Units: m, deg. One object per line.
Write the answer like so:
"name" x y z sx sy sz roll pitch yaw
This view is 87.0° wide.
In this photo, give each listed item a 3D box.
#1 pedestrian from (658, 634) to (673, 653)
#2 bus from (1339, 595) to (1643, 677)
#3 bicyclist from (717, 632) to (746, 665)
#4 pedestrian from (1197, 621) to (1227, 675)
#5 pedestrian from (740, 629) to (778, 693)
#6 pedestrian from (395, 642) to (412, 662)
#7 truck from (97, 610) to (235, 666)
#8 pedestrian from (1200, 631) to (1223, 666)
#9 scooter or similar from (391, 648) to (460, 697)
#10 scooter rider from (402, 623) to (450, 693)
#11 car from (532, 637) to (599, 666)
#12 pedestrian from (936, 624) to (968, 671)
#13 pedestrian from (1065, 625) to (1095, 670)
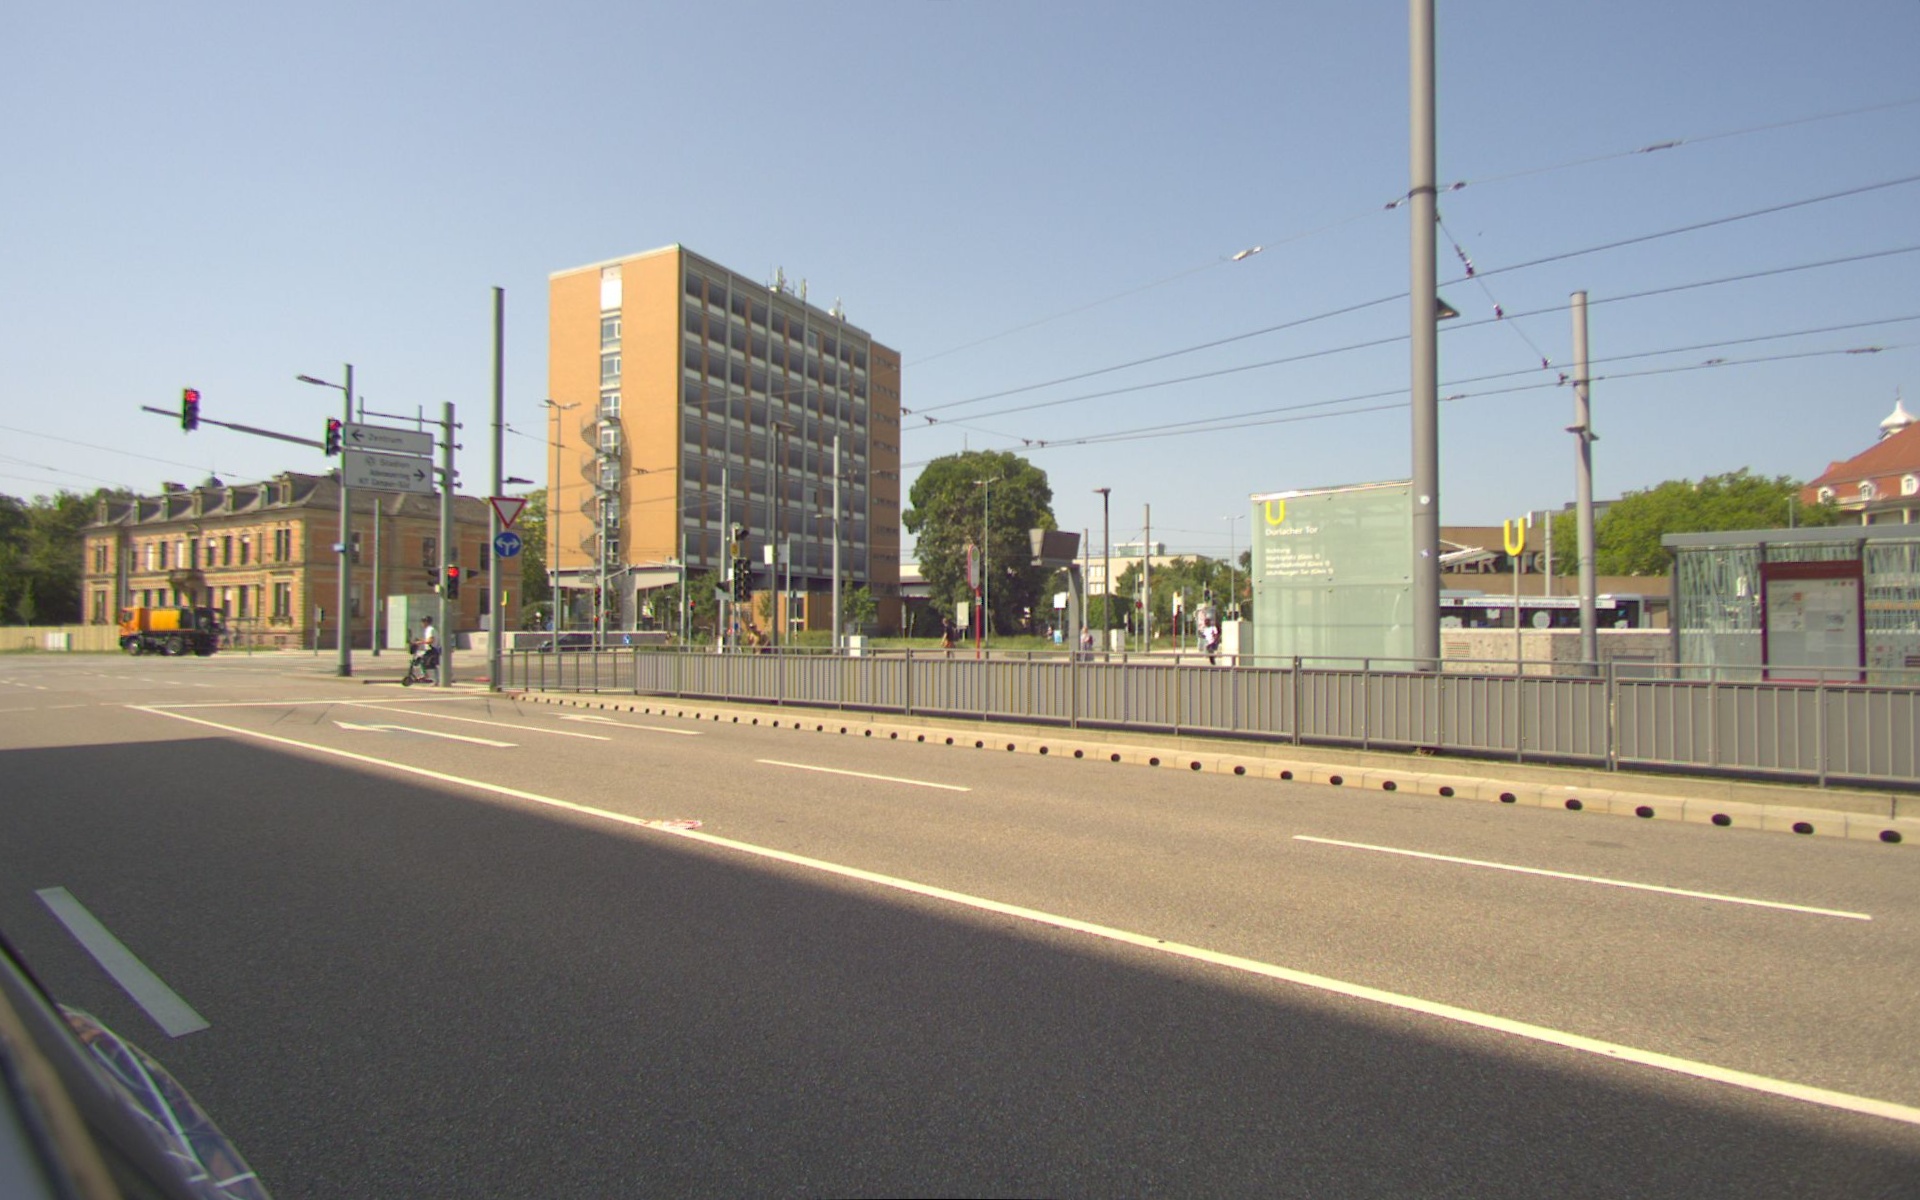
"pedestrian" -22.644 3.346 77.849 0.787 1.405 0.836 -2 -3 42
"bus" 23.645 1.558 45.243 12.560 3.356 2.681 -1 -2 -6
"bicyclist" -10.284 2.178 45.518 0.980 1.470 0.865 -2 -3 44
"pedestrian" 8.218 1.573 33.000 0.668 1.741 0.786 0 -2 -10
"pedestrian" -5.431 1.636 27.284 0.795 1.672 0.570 -3 -3 22
"pedestrian" -39.205 3.685 71.334 0.787 1.405 0.836 -2 -3 42
"truck" -50.066 2.456 63.910 7.117 3.254 3.030 -2 -4 13
"pedestrian" 13.018 2.487 52.317 0.945 1.793 0.786 2 -2 -44
"scooter or similar" -13.223 1.770 25.067 0.708 1.157 1.324 -2 -3 39
"scooter rider" -13.226 1.424 25.075 0.778 1.686 0.764 -2 -3 38
"car" -26.596 3.482 68.264 3.931 1.807 2.006 0 -4 -31
"pedestrian" -0.298 1.837 39.144 0.959 1.793 0.774 -1 -2 43
"pedestrian" 4.903 1.944 41.342 0.959 1.793 0.774 -1 -2 43
